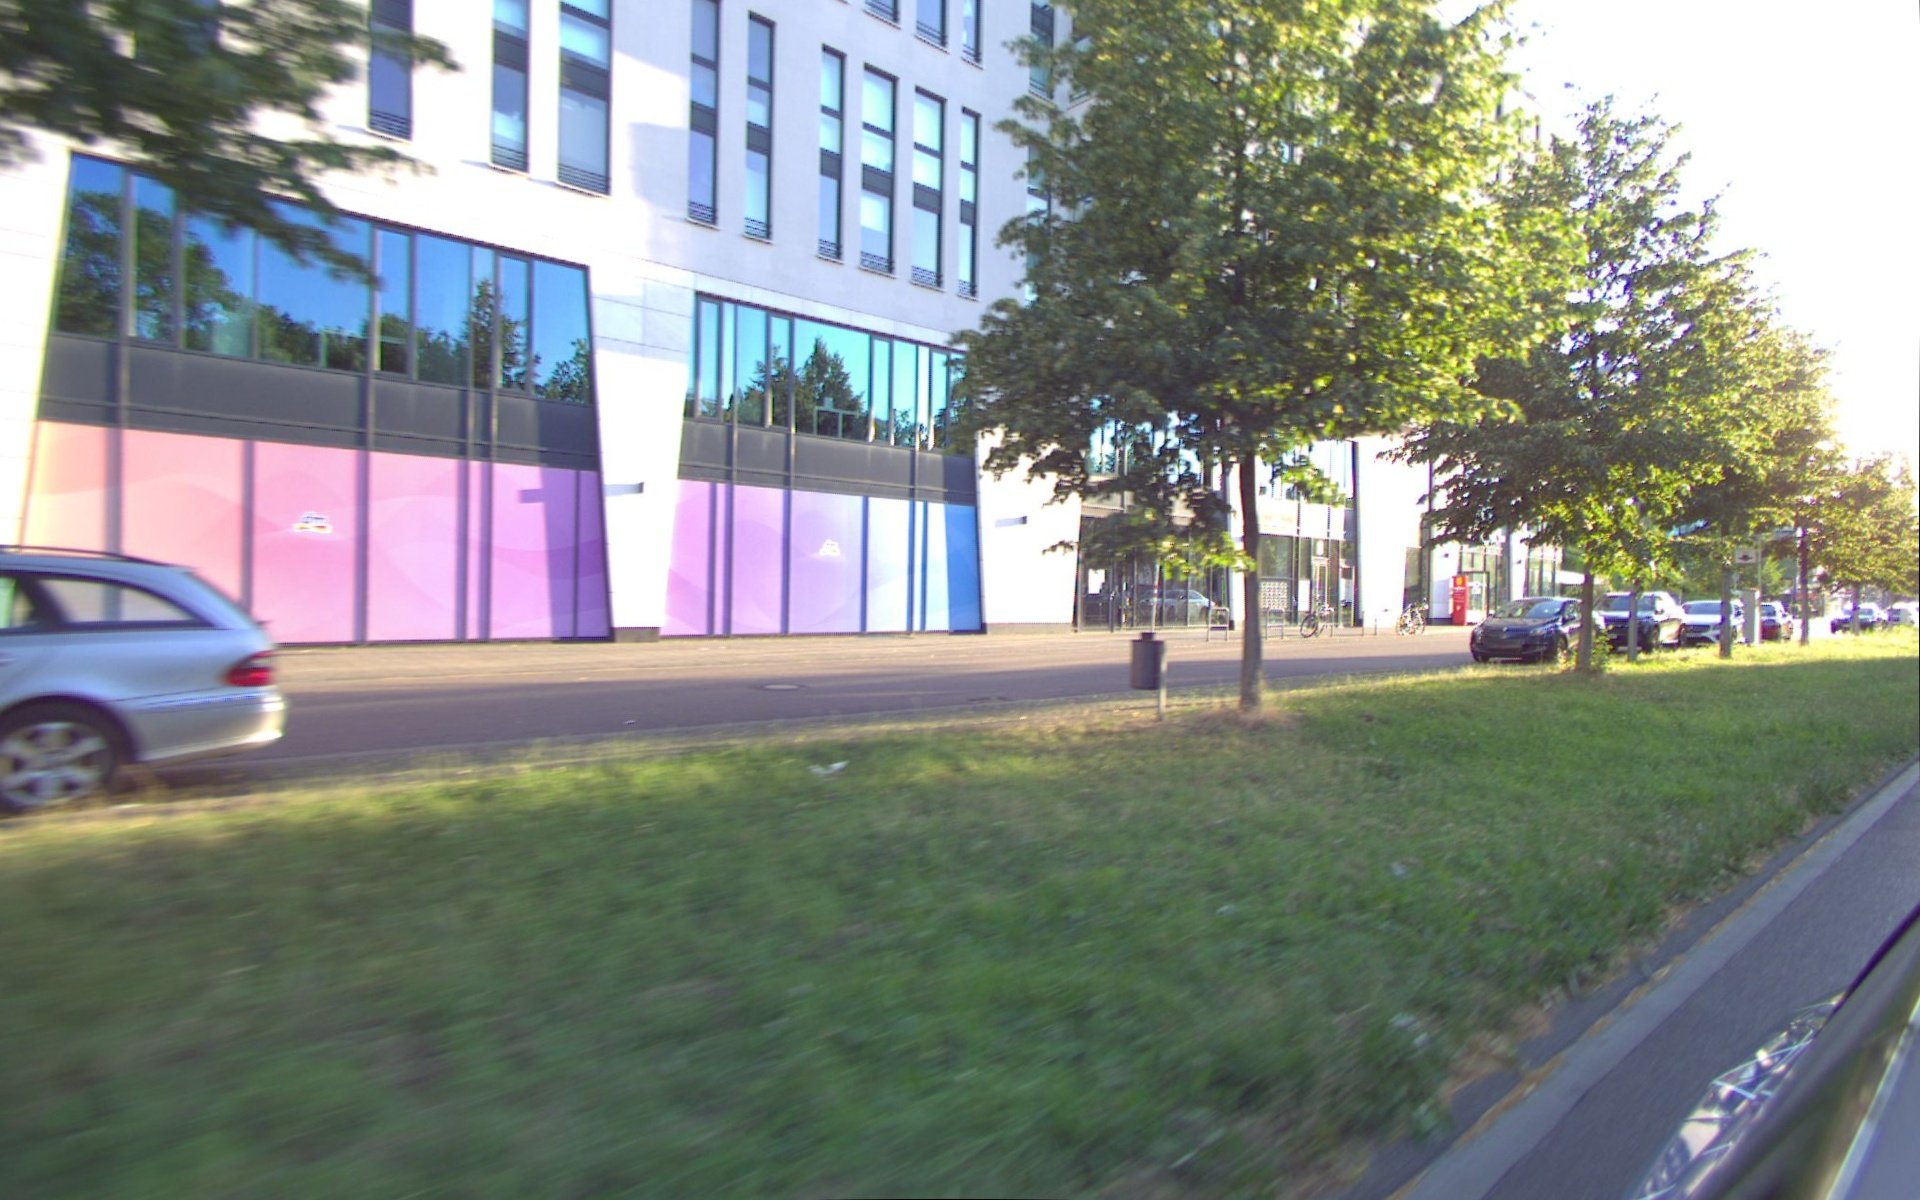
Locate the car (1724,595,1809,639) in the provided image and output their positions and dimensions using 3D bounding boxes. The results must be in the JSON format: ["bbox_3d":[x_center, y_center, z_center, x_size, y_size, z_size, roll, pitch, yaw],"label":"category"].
[{"bbox_3d":[29.735,0.599,37.282,3.891,1.520,1.811,1,0,-42],"label":"car"}]

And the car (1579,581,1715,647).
[{"bbox_3d":[18.640,0.384,27.375,4.737,1.644,1.955,1,-2,-42],"label":"car"}]

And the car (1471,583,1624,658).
[{"bbox_3d":[13.174,0.443,22.606,4.158,1.520,1.727,1,-1,-41],"label":"car"}]

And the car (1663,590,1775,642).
[{"bbox_3d":[24.096,0.486,32.048,4.923,1.520,1.924,1,0,-42],"label":"car"}]

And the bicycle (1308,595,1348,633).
[{"bbox_3d":[10.960,0.411,30.148,0.533,1.073,1.587,1,1,43],"label":"bicycle"}]

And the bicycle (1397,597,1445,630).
[{"bbox_3d":[15.330,0.435,33.595,2.223,1.046,0.621,0,1,-43],"label":"bicycle"}]

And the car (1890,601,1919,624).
[{"bbox_3d":[60.263,0.805,64.012,3.931,1.416,1.752,1,0,-42],"label":"car"}]

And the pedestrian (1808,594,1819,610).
[{"bbox_3d":[77.104,0.197,91.426,0.741,1.385,0.760,1,0,38],"label":"pedestrian"}]

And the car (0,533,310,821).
[{"bbox_3d":[-6.399,0.379,5.361,4.742,1.520,1.811,1,0,-42],"label":"car"}]

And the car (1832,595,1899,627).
[{"bbox_3d":[46.809,0.577,52.296,4.288,1.519,1.814,1,1,-38],"label":"car"}]

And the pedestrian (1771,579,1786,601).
[{"bbox_3d":[61.521,-0.743,76.074,1.060,1.675,0.696,1,0,-42],"label":"pedestrian"}]
